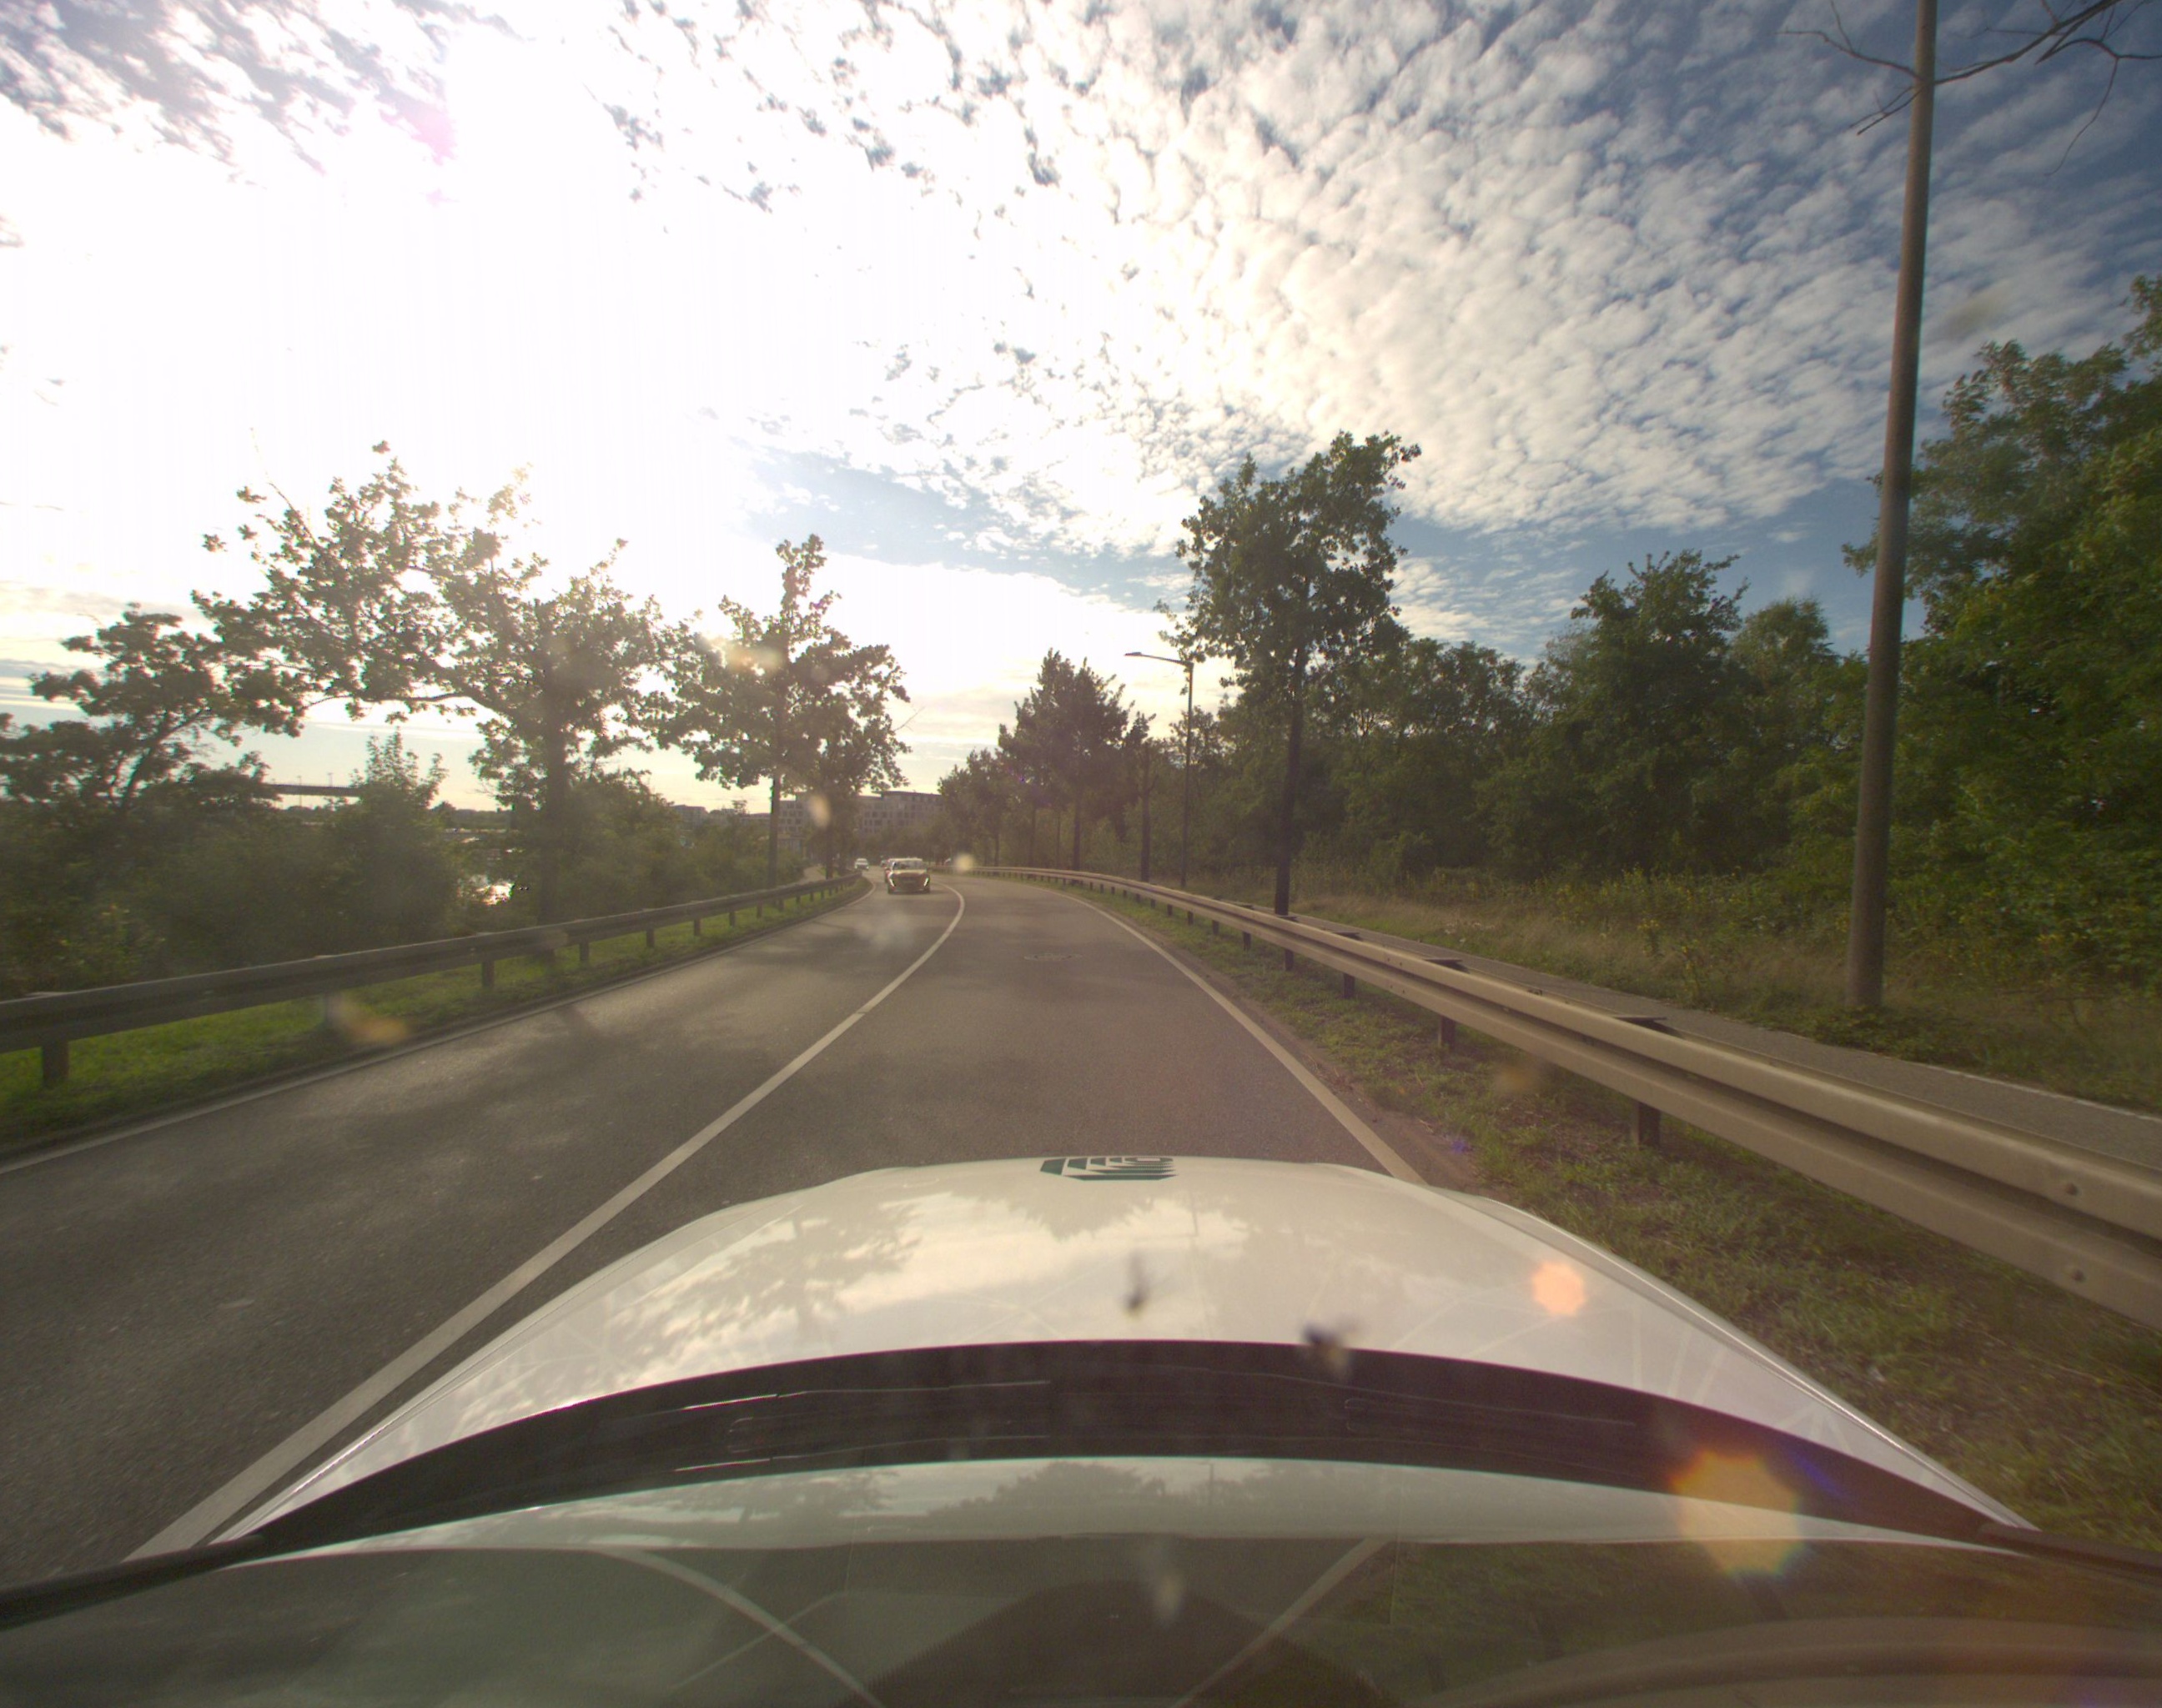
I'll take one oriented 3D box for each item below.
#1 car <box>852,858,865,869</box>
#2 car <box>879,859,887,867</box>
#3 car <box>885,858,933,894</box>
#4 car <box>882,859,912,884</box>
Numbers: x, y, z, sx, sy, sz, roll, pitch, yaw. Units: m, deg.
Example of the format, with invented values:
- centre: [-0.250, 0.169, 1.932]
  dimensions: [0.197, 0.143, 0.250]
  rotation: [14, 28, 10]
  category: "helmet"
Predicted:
- centre: [-29.344, 1.285, 107.468]
  dimensions: [1.570, 1.425, 3.572]
  rotation: [-1, 0, -15]
  category: "car"
- centre: [-39.627, 1.811, 163.074]
  dimensions: [1.570, 1.425, 3.572]
  rotation: [-1, 0, -15]
  category: "car"
- centre: [-7.258, 0.896, 34.725]
  dimensions: [1.799, 1.425, 3.860]
  rotation: [-1, 0, -9]
  category: "car"
- centre: [-11.348, 1.032, 50.121]
  dimensions: [1.570, 1.425, 3.571]
  rotation: [-1, 0, -16]
  category: "car"
